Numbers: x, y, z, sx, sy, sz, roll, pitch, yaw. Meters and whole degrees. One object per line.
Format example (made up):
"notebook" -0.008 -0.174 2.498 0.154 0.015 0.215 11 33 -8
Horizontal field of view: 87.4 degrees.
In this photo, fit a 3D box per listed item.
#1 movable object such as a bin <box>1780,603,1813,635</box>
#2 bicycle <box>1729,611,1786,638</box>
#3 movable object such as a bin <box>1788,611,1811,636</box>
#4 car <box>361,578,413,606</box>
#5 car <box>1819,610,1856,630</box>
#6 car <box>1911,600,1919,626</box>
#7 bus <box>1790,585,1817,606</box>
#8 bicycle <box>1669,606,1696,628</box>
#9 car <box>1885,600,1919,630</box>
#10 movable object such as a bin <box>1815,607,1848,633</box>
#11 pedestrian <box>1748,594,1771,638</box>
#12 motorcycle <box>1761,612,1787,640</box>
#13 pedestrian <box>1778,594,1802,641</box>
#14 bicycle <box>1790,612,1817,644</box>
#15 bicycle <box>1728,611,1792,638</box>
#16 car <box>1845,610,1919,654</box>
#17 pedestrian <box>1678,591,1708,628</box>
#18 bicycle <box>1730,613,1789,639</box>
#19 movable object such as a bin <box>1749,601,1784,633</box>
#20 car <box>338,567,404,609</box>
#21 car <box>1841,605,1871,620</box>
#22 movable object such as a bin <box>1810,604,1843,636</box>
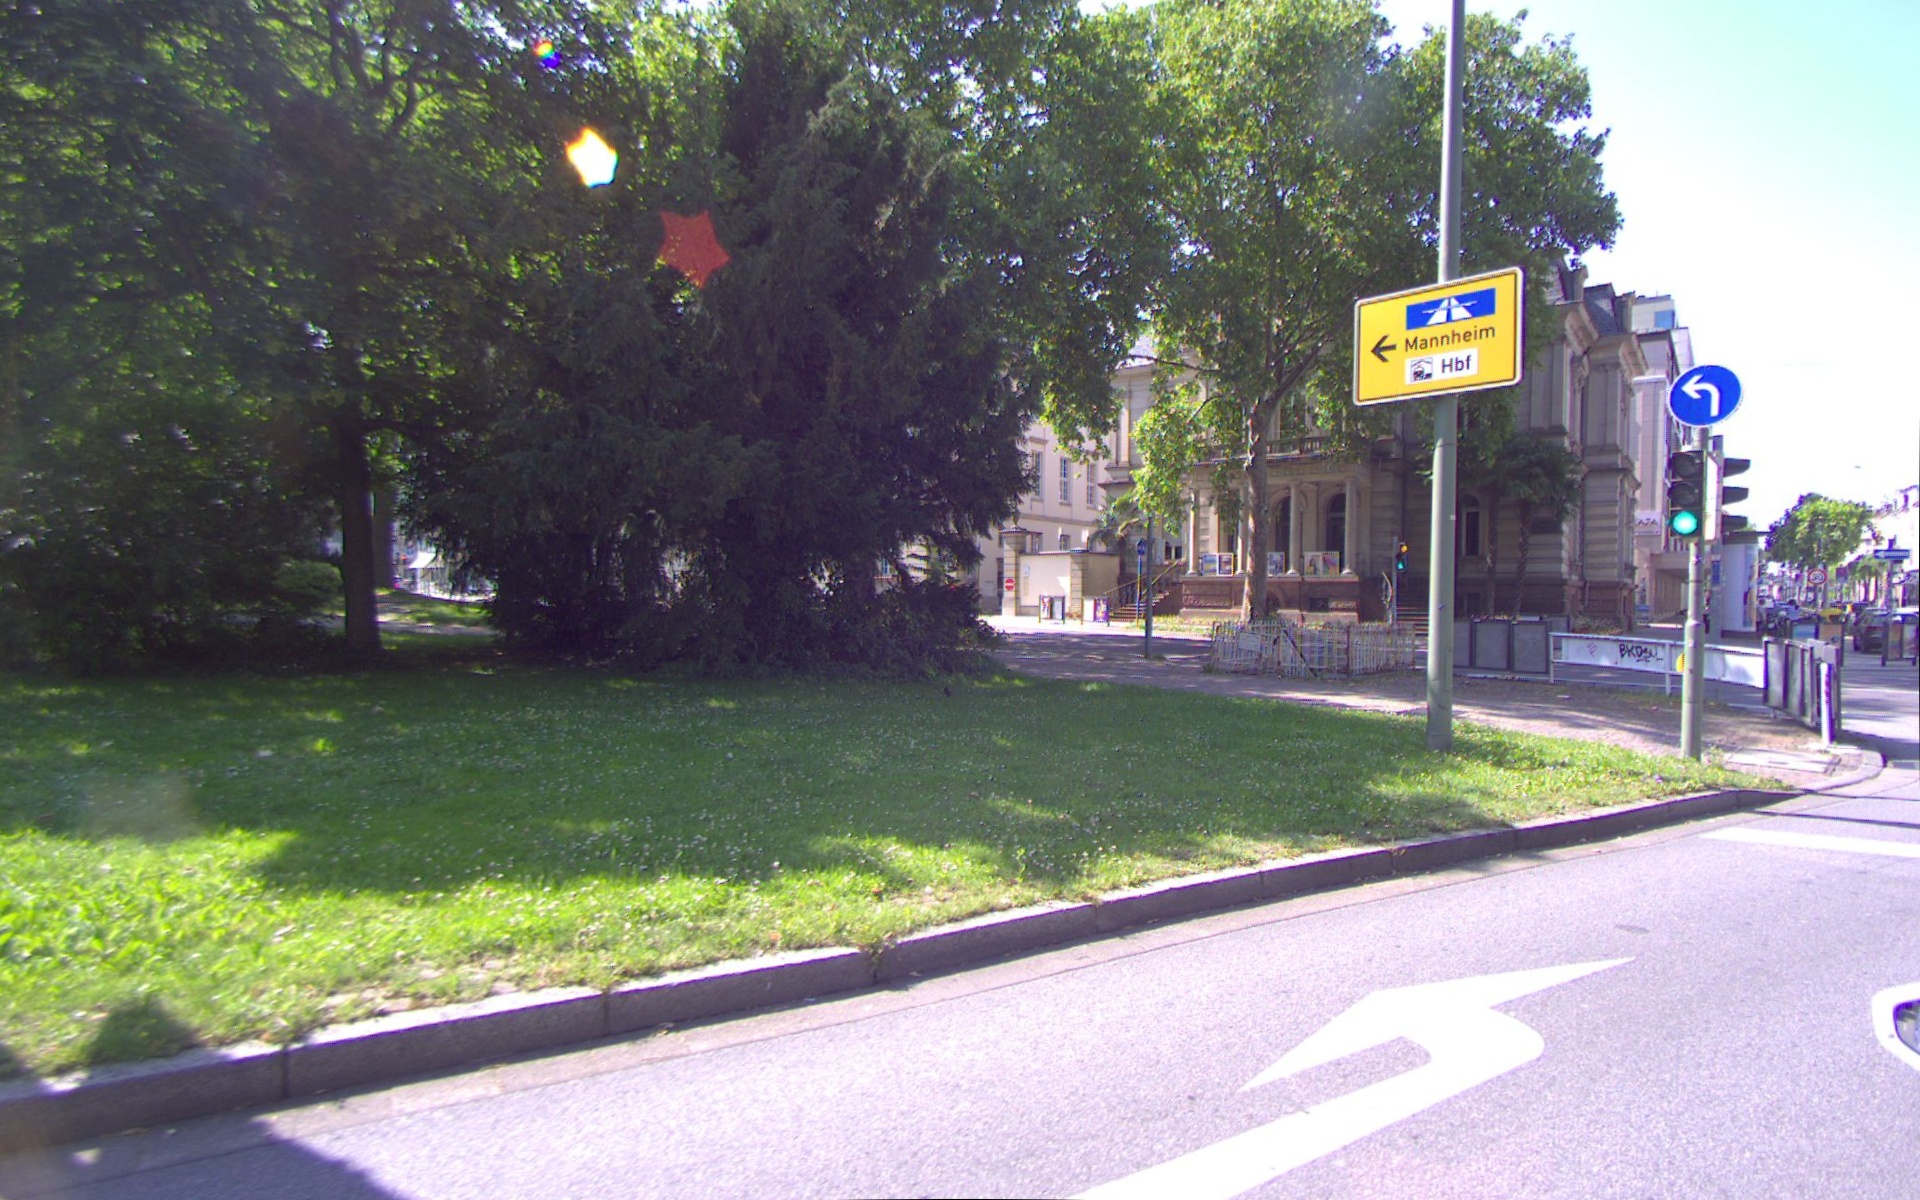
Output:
"movable object such as a bin" 41.160 0.943 49.423 1.112 1.470 1.430 3 3 44
"bicycle" 36.866 1.138 46.460 1.930 1.135 0.556 3 1 27
"movable object such as a bin" 40.267 1.117 48.201 0.712 1.113 0.655 2 3 31
"car" -38.175 -0.538 66.929 3.998 1.758 1.841 2 2 41
"car" 67.039 1.534 76.807 1.839 1.460 3.985 1 -1 37
"car" 57.610 0.768 59.176 1.810 1.547 3.985 -1 -2 37
"bus" 148.469 -0.812 176.863 2.733 3.653 8.944 0 1 35
"bicycle" 36.174 0.831 50.283 0.481 1.076 2.027 1 0 18
"car" 48.616 0.725 51.166 1.840 1.460 3.983 0 0 38
"movable object such as a bin" 46.489 1.054 53.587 1.261 1.317 0.850 1 1 38
"pedestrian" 30.714 0.625 38.588 0.930 1.687 0.544 2 -1 -44
"motorcycle" 31.039 0.986 38.299 2.145 1.011 0.449 1 2 -43
"pedestrian" 31.054 0.654 37.586 0.686 1.717 0.687 1 -1 41
"bicycle" 31.500 1.056 37.500 2.226 1.135 0.425 2 1 -42
"bicycle" 37.350 1.145 46.909 2.202 1.135 0.556 3 1 27
"car" 32.641 1.076 35.434 1.913 1.372 4.230 0 0 39
"pedestrian" 36.711 0.480 50.297 0.982 1.797 0.786 1 1 18
"bicycle" 36.478 1.178 45.850 1.932 1.031 0.670 3 1 27
"movable object such as a bin" 40.422 0.840 50.318 1.196 1.470 1.355 3 3 44
"car" -31.891 -0.683 54.359 3.998 2.197 1.925 2 2 41
"car" 87.620 1.208 98.231 1.839 1.460 3.984 0 1 37
"movable object such as a bin" 41.960 0.947 48.642 1.112 1.470 1.430 3 3 44
